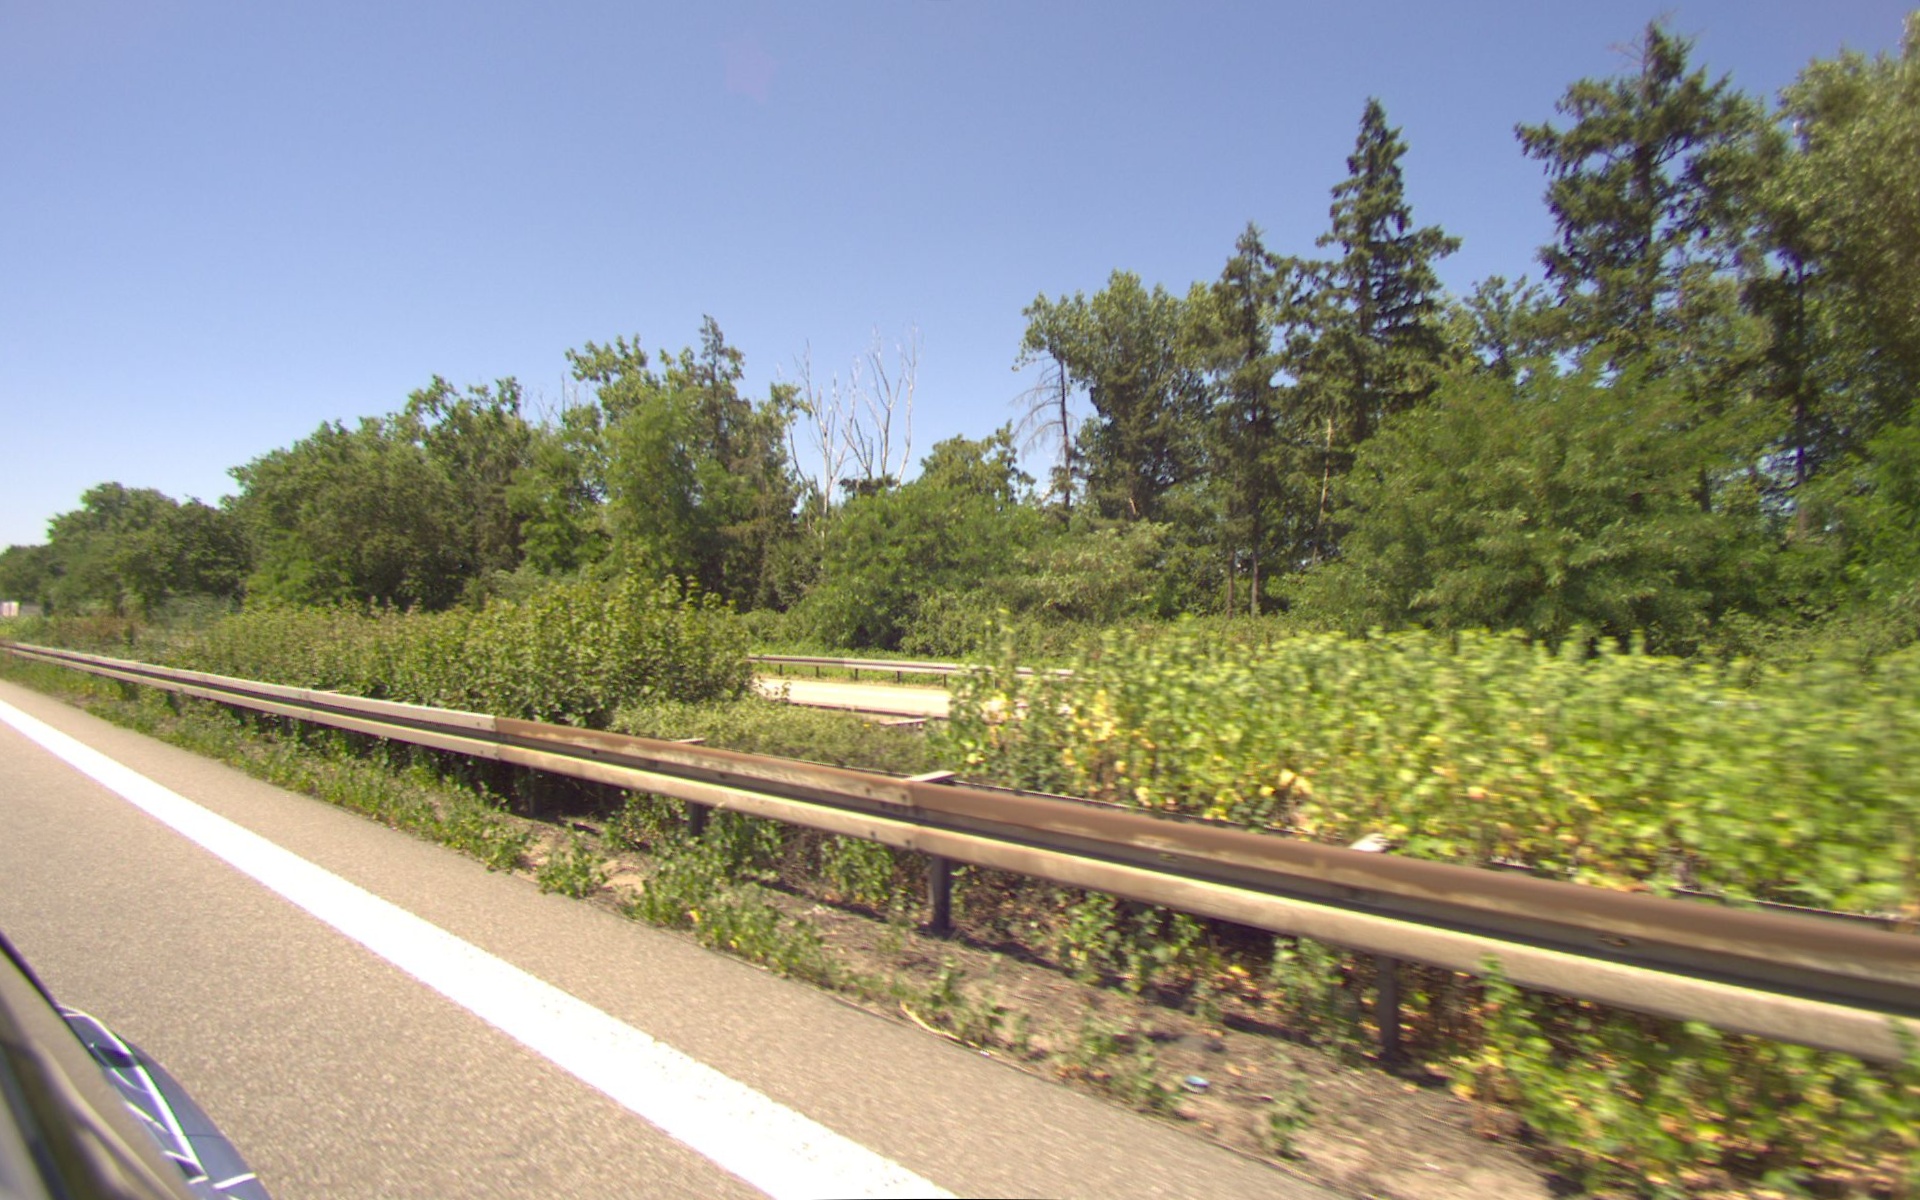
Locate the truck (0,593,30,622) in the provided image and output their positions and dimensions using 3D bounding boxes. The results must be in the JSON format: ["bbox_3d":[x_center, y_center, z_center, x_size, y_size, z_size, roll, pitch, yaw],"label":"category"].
[{"bbox_3d":[-133.228,1.076,142.077,9.271,3.857,2.895,-1,-2,41],"label":"truck"}]

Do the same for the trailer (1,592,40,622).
[{"bbox_3d":[-126.286,0.982,135.963,9.271,3.857,2.895,-1,-2,41],"label":"trailer"}]
